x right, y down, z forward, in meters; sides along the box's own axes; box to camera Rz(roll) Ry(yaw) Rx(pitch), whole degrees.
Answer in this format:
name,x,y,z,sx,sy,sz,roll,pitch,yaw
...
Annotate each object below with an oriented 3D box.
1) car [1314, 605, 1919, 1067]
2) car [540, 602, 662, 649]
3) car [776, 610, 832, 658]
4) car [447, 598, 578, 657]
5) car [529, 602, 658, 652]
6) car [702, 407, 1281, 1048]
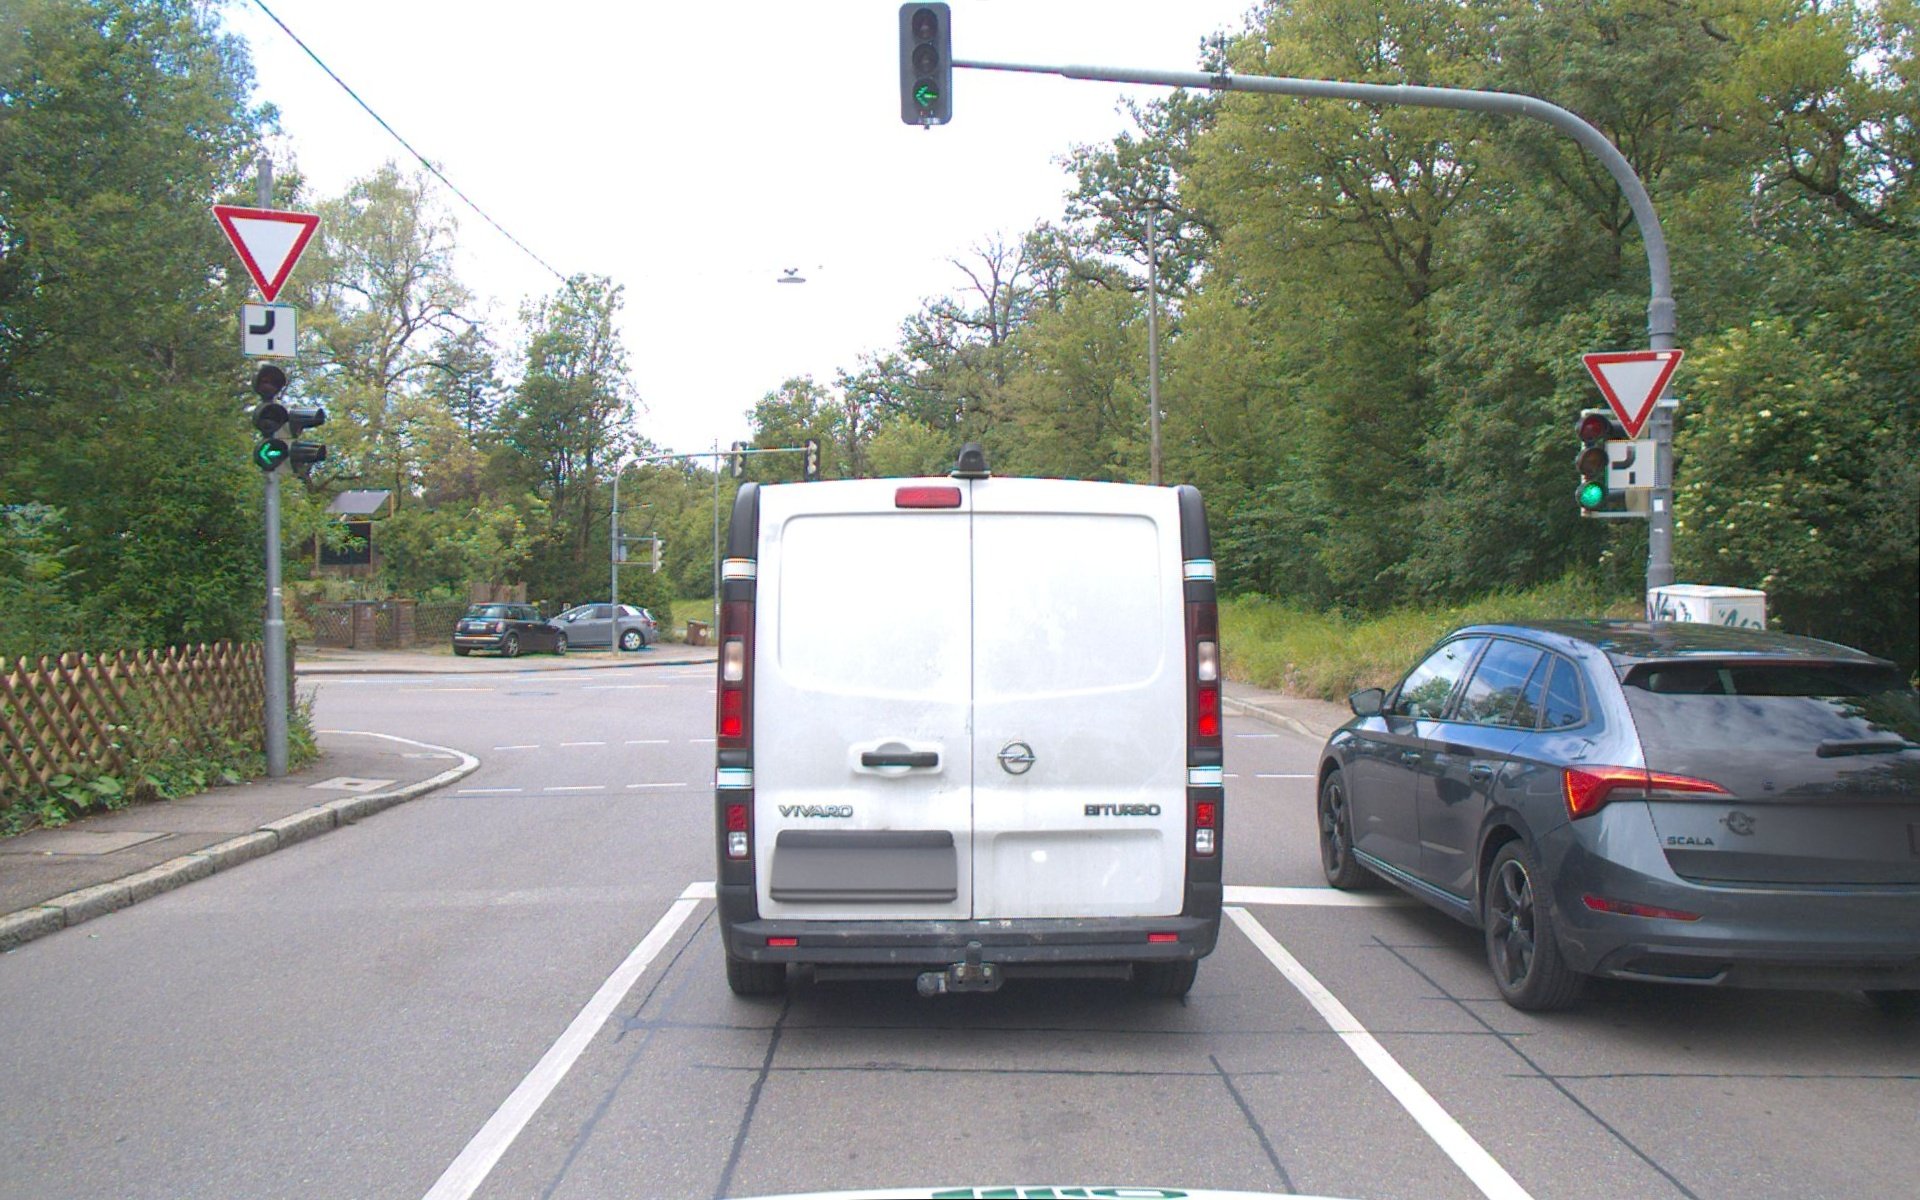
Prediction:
name,x,y,z,sx,sy,sz,roll,pitch,yaw
car,2.949,0.771,7.394,1.756,1.476,3.998,0,0,-2
car,-12.547,0.865,57.792,4.023,1.580,1.845,0,1,-18
car,-5.235,1.122,55.704,1.821,1.533,3.996,0,0,-5
car,-11.988,0.731,44.469,1.662,1.474,3.544,2,0,19
car,-12.119,0.882,54.672,4.023,1.580,1.845,0,1,-18
car,0.000,0.430,7.800,1.878,2.089,4.611,2,0,-3
